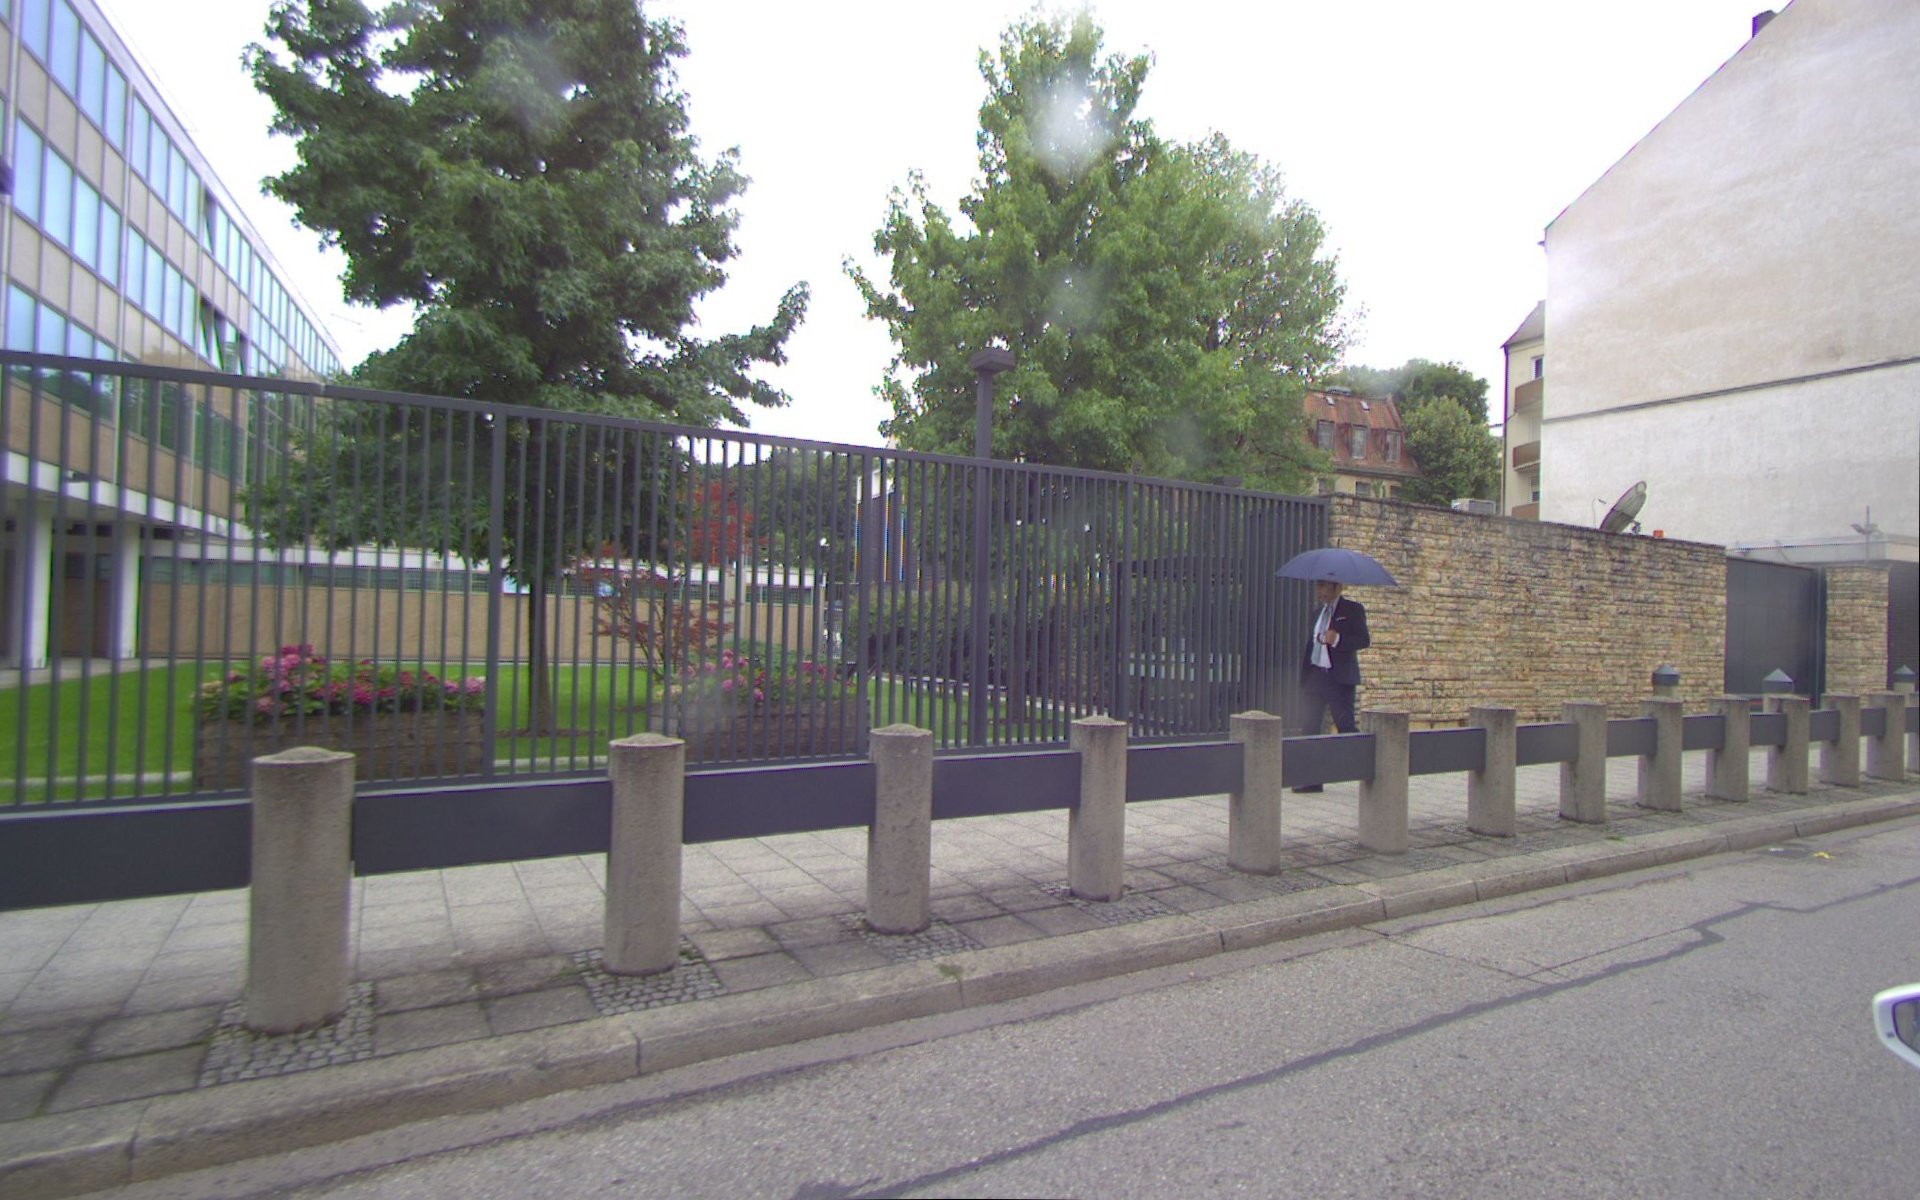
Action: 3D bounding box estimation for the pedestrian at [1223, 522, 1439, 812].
[{"bbox_3d":[3.000,0.510,8.196,1.102,2.132,1.218,1,-1,-28],"label":"pedestrian"}]
